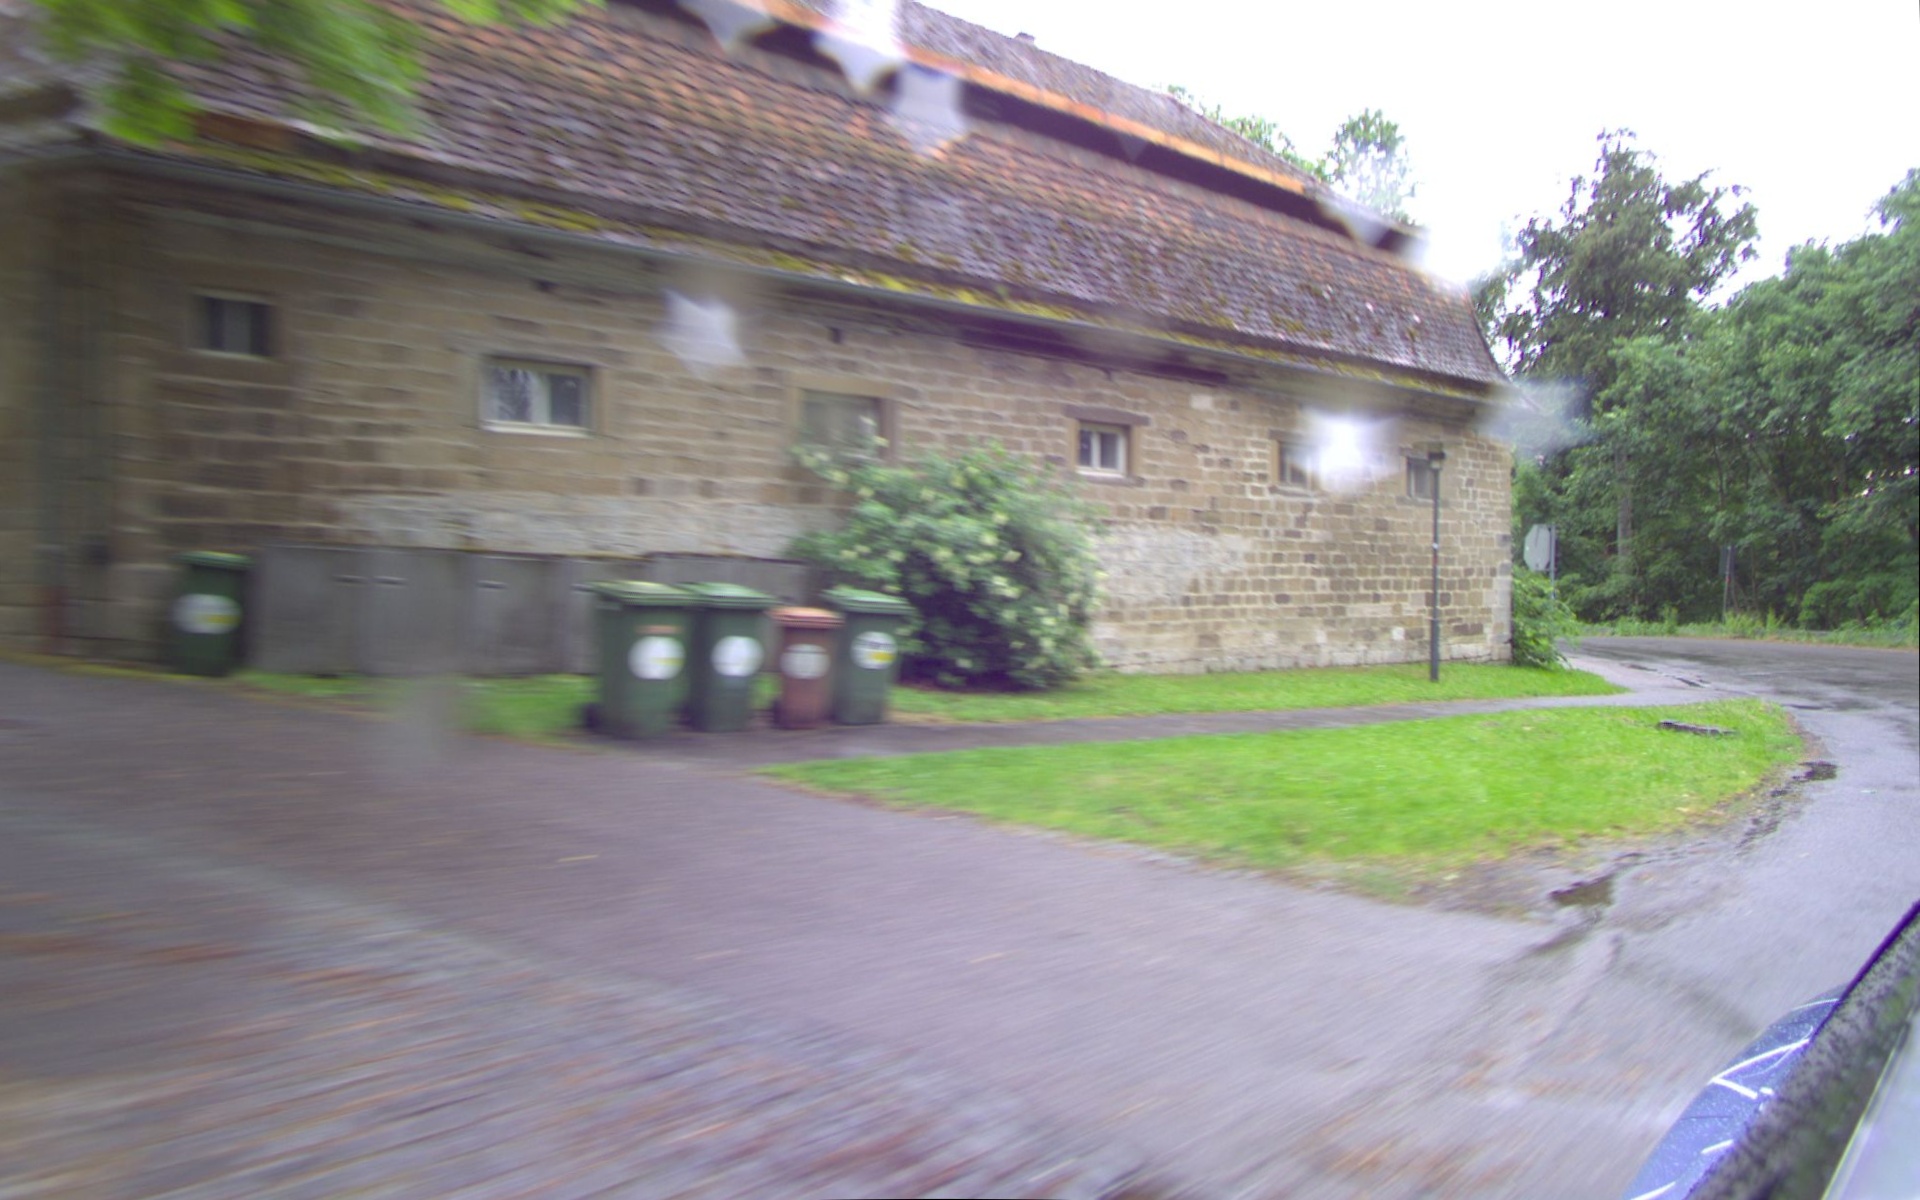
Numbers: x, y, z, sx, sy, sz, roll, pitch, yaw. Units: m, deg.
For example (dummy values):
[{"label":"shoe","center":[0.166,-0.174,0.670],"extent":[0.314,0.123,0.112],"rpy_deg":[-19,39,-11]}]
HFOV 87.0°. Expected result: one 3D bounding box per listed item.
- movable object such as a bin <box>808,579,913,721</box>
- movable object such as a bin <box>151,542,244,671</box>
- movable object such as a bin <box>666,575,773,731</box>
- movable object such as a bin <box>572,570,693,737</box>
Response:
[{"label":"movable object such as a bin","center":[-0.839,0.395,8.432],"extent":[0.564,1.051,0.699],"rpy_deg":[0,7,-32]},{"label":"movable object such as a bin","center":[-5.936,0.035,7.905],"extent":[0.523,0.917,0.554],"rpy_deg":[0,7,-32]},{"label":"movable object such as a bin","center":[-1.849,0.378,7.730],"extent":[0.564,1.051,0.699],"rpy_deg":[0,7,-32]},{"label":"movable object such as a bin","center":[-2.350,0.353,7.233],"extent":[0.647,1.051,0.699],"rpy_deg":[0,7,-32]}]
